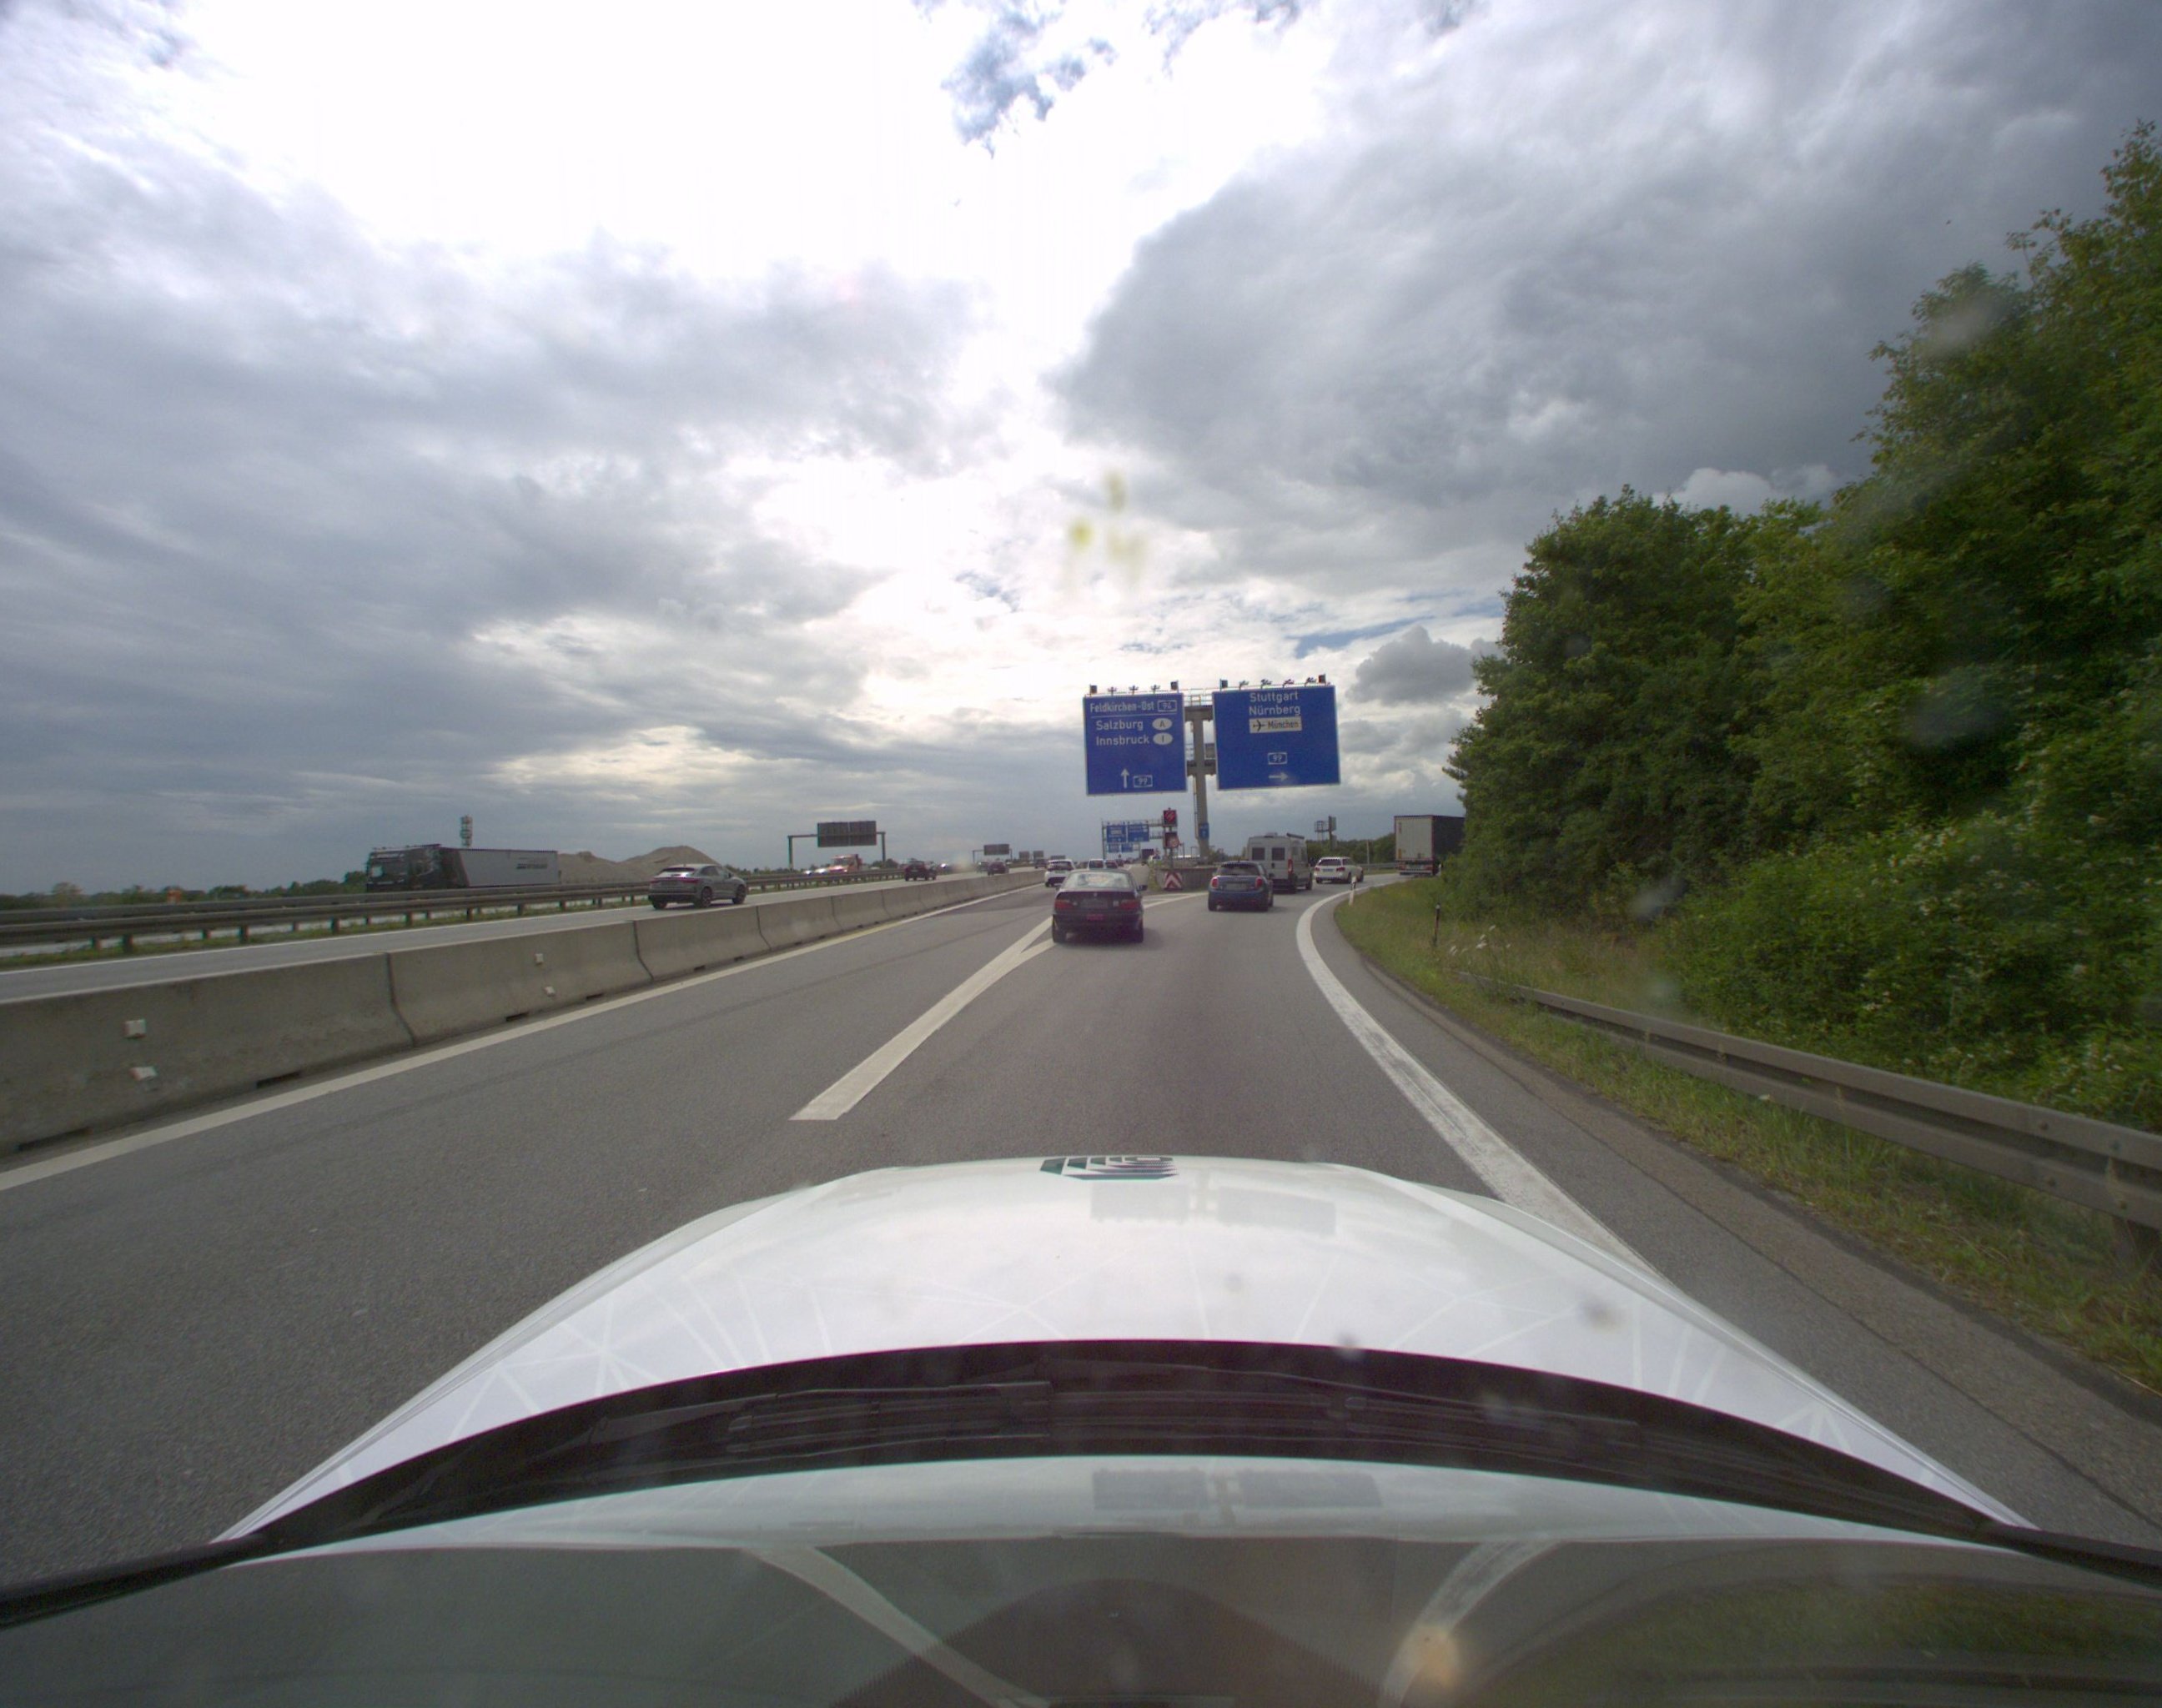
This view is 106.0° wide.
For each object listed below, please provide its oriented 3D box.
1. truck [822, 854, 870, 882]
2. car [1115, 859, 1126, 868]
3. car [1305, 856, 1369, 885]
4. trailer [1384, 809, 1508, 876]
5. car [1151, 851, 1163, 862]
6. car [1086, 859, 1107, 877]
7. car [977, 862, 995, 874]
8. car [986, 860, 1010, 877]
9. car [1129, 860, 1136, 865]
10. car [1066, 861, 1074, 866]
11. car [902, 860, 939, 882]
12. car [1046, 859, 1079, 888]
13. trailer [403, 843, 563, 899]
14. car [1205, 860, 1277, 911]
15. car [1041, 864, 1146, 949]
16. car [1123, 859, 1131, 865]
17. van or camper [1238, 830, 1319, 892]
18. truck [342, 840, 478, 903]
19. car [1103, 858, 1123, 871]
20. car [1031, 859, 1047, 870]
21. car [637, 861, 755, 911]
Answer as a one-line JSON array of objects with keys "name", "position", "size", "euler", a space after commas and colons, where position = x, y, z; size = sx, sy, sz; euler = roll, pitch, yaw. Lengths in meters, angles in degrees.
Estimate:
[{"name": "truck", "position": [-21.139, 1.219, 73.473], "size": [2.267, 2.370, 6.203], "euler": [-1, 0, 2]}, {"name": "car", "position": [6.570, 1.606, 135.333], "size": [1.858, 1.424, 4.004], "euler": [-1, 0, 4]}, {"name": "car", "position": [14.668, 0.911, 46.534], "size": [2.184, 1.501, 4.818], "euler": [-2, -1, 34]}, {"name": "trailer", "position": [25.811, -0.724, 56.985], "size": [13.107, 4.193, 3.300], "euler": [-1, -1, -44]}, {"name": "car", "position": [13.890, 0.501, 148.727], "size": [1.986, 2.014, 4.001], "euler": [-1, 0, 2]}, {"name": "car", "position": [1.377, 1.172, 71.089], "size": [1.578, 1.484, 3.538], "euler": [-1, 0, 4]}, {"name": "car", "position": [-11.564, 1.686, 99.300], "size": [1.546, 1.376, 4.002], "euler": [-1, 0, 2]}, {"name": "car", "position": [-8.045, 1.406, 79.131], "size": [1.767, 1.530, 4.003], "euler": [-2, 0, 3]}, {"name": "car", "position": [14.605, 2.379, 229.853], "size": [1.795, 1.424, 4.005], "euler": [-2, 0, 5]}, {"name": "car", "position": [-3.339, 2.728, 244.502], "size": [1.984, 1.468, 4.005], "euler": [-2, 0, 5]}, {"name": "car", "position": [-12.672, 1.347, 64.703], "size": [1.893, 1.639, 4.236], "euler": [-1, 0, 3]}, {"name": "car", "position": [-1.052, 1.038, 45.576], "size": [1.697, 1.508, 3.837], "euler": [-1, 0, -2]}, {"name": "trailer", "position": [-38.454, 1.045, 52.987], "size": [3.188, 3.269, 9.820], "euler": [-1, 0, -1]}, {"name": "car", "position": [4.933, 0.916, 24.749], "size": [1.715, 1.419, 3.682], "euler": [-1, -1, 18]}, {"name": "car", "position": [0.354, 0.927, 16.039], "size": [1.774, 1.378, 4.141], "euler": [-1, 0, 4]}, {"name": "car", "position": [11.927, 1.980, 209.942], "size": [1.795, 1.424, 4.005], "euler": [-2, 0, 5]}, {"name": "van or camper", "position": [9.081, 0.305, 36.982], "size": [2.272, 2.568, 6.196], "euler": [-2, -1, 25]}, {"name": "truck", "position": [-38.407, 0.959, 46.904], "size": [3.140, 3.330, 5.621], "euler": [-1, 0, -1]}, {"name": "car", "position": [3.810, 1.269, 95.906], "size": [1.983, 1.468, 4.007], "euler": [-2, 0, 6]}, {"name": "car", "position": [-6.835, 1.654, 133.578], "size": [1.985, 1.684, 4.870], "euler": [-1, 0, 3]}, {"name": "car", "position": [-13.893, 1.084, 29.703], "size": [1.893, 1.640, 4.648], "euler": [-1, 0, 3]}]
